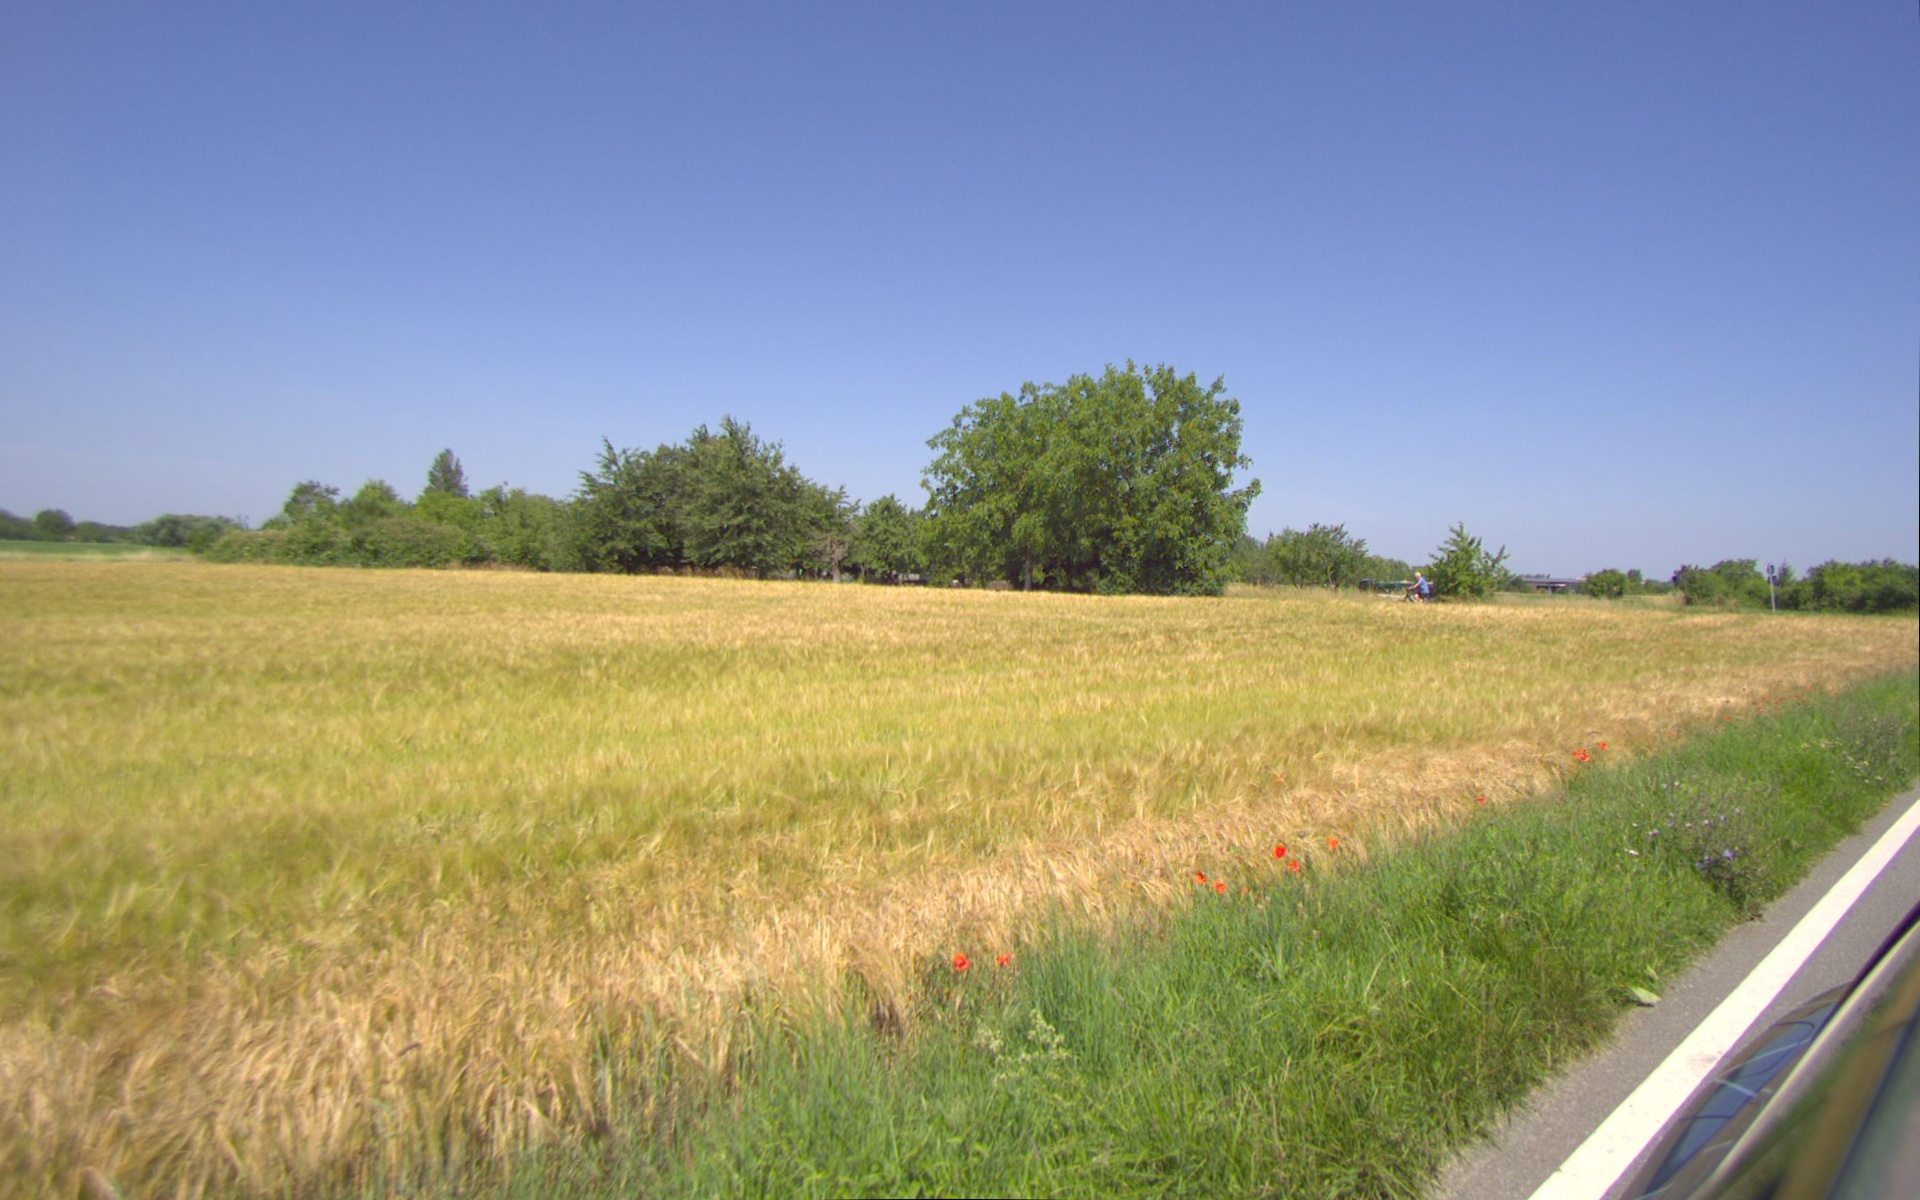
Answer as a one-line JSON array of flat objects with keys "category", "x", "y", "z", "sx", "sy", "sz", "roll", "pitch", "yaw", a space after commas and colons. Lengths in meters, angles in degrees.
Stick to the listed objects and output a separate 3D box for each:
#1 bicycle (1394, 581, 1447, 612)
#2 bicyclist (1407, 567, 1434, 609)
[{"category": "bicycle", "x": 17.808, "y": -0.139, "z": 39.184, "sx": 1.741, "sy": 1.129, "sz": 0.520, "roll": 2, "pitch": 2, "yaw": 10}, {"category": "bicyclist", "x": 17.818, "y": -0.467, "z": 39.176, "sx": 0.724, "sy": 1.593, "sz": 0.673, "roll": 2, "pitch": 2, "yaw": 10}]
